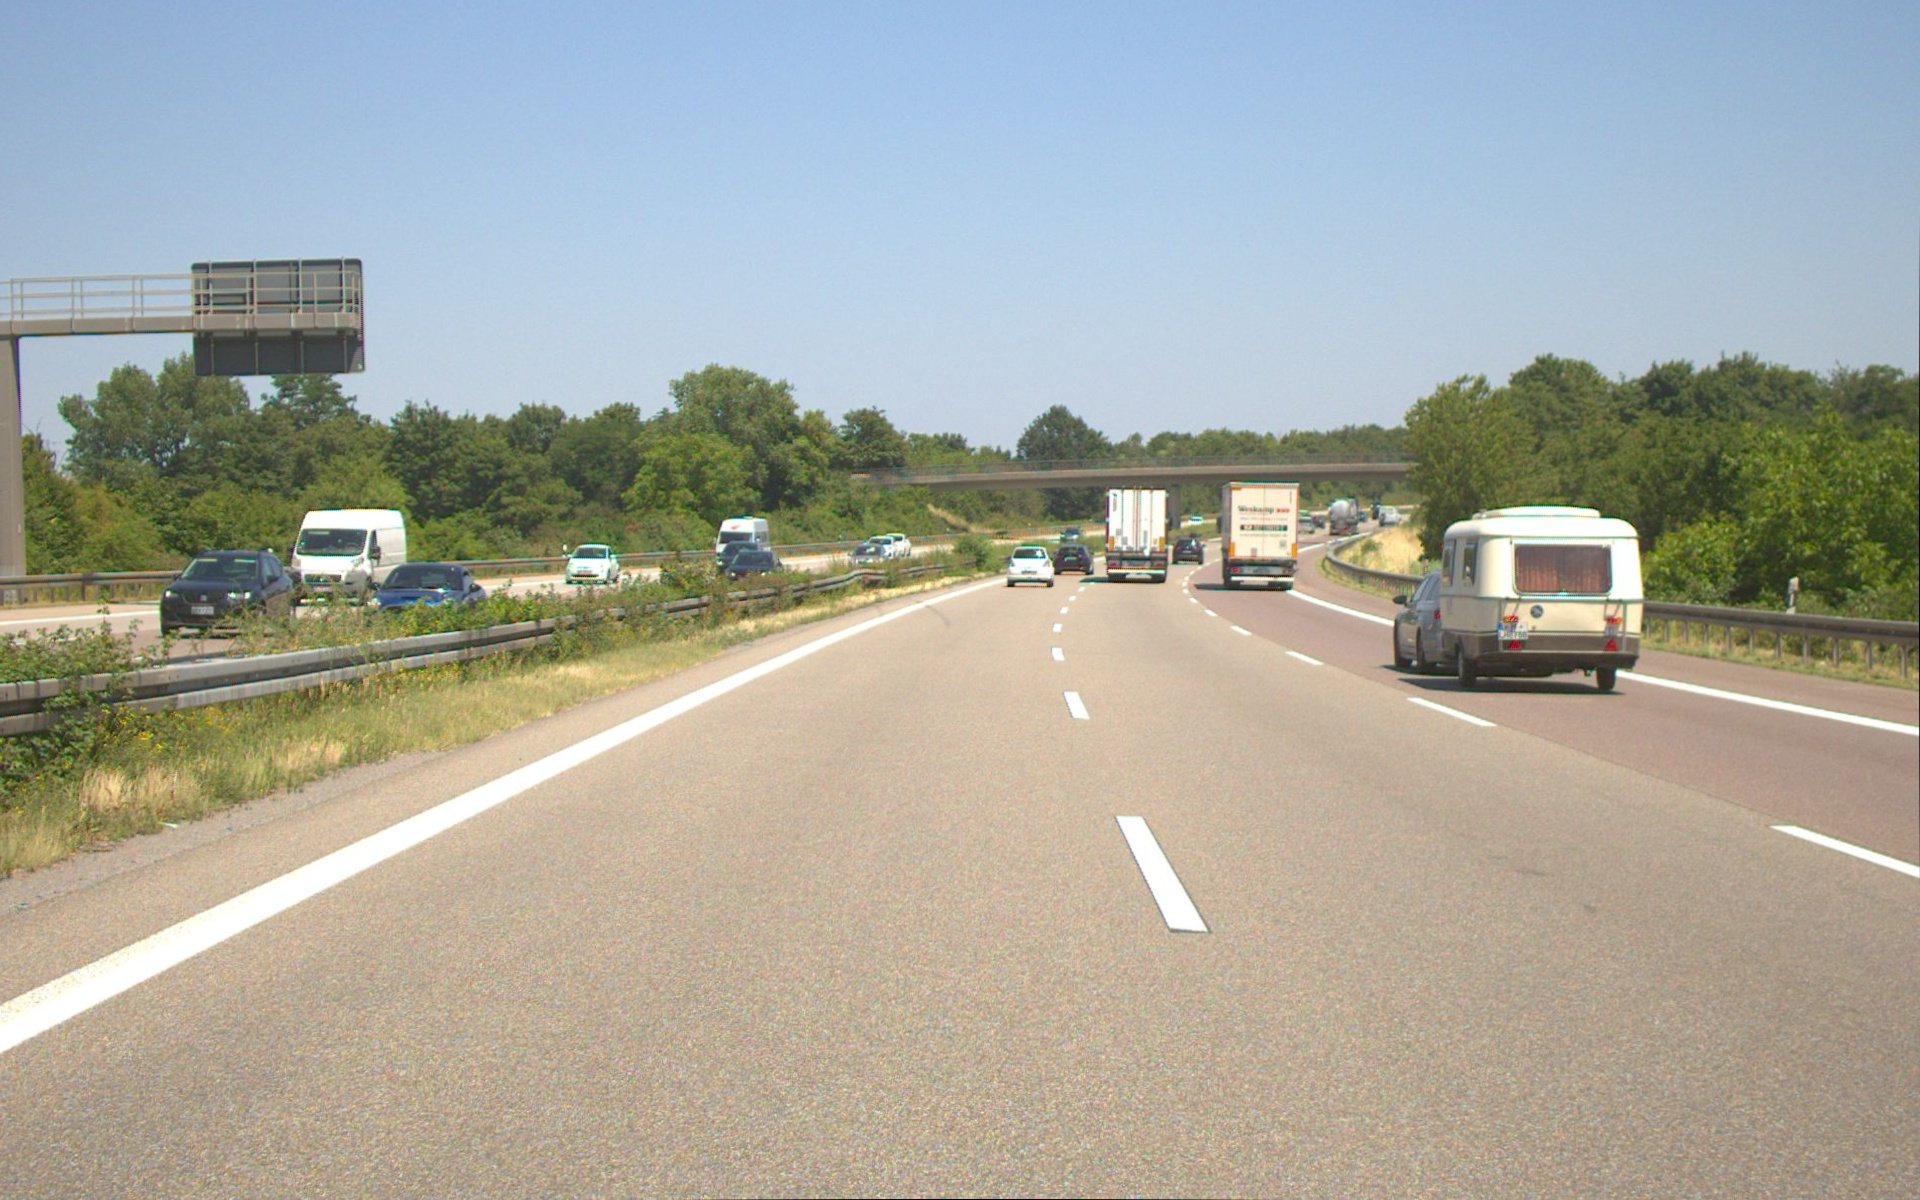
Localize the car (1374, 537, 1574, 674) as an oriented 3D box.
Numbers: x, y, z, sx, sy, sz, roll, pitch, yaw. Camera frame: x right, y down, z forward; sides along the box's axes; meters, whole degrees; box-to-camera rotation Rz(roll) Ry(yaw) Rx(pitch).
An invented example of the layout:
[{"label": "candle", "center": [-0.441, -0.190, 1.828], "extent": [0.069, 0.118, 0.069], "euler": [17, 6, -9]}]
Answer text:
[{"label": "car", "center": [7.042, 0.022, 47.631], "extent": [2.045, 1.652, 5.510], "euler": [0, 2, 1]}]

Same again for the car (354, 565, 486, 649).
[{"label": "car", "center": [-9.191, 0.094, 58.731], "extent": [1.631, 1.349, 3.829], "euler": [1, 1, 0]}]

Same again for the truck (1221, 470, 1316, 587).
[{"label": "truck", "center": [12.254, -2.923, 135.285], "extent": [3.182, 4.289, 16.014], "euler": [1, 2, 7]}]

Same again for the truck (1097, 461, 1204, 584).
[{"label": "truck", "center": [8.403, -3.485, 149.235], "extent": [3.667, 5.001, 16.015], "euler": [1, 2, 6]}]

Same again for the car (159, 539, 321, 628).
[{"label": "car", "center": [-12.752, -0.312, 61.159], "extent": [1.978, 1.505, 4.236], "euler": [1, 1, 0]}]

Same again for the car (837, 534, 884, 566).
[{"label": "car", "center": [-4.670, -2.348, 161.104], "extent": [1.747, 1.461, 4.249], "euler": [1, 1, 4]}]

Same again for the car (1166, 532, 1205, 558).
[{"label": "car", "center": [13.894, -3.389, 211.796], "extent": [1.829, 1.541, 4.317], "euler": [2, 2, 11]}]

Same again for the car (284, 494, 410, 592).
[{"label": "car", "center": [-16.044, -1.501, 90.295], "extent": [2.131, 2.469, 6.334], "euler": [1, 1, 0]}]

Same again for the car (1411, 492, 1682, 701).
[{"label": "car", "center": [7.084, -0.117, 42.120], "extent": [2.442, 2.313, 5.322], "euler": [-1, 2, 1]}]

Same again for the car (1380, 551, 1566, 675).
[{"label": "car", "center": [7.064, 0.129, 47.841], "extent": [1.887, 1.510, 5.380], "euler": [2, 2, 2]}]

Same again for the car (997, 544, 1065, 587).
[{"label": "car", "center": [2.698, -1.327, 129.865], "extent": [1.829, 1.541, 4.317], "euler": [2, 2, 11]}]

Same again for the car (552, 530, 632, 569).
[{"label": "car", "center": [-14.069, -1.925, 131.691], "extent": [1.994, 1.453, 4.086], "euler": [1, 1, 9]}]
